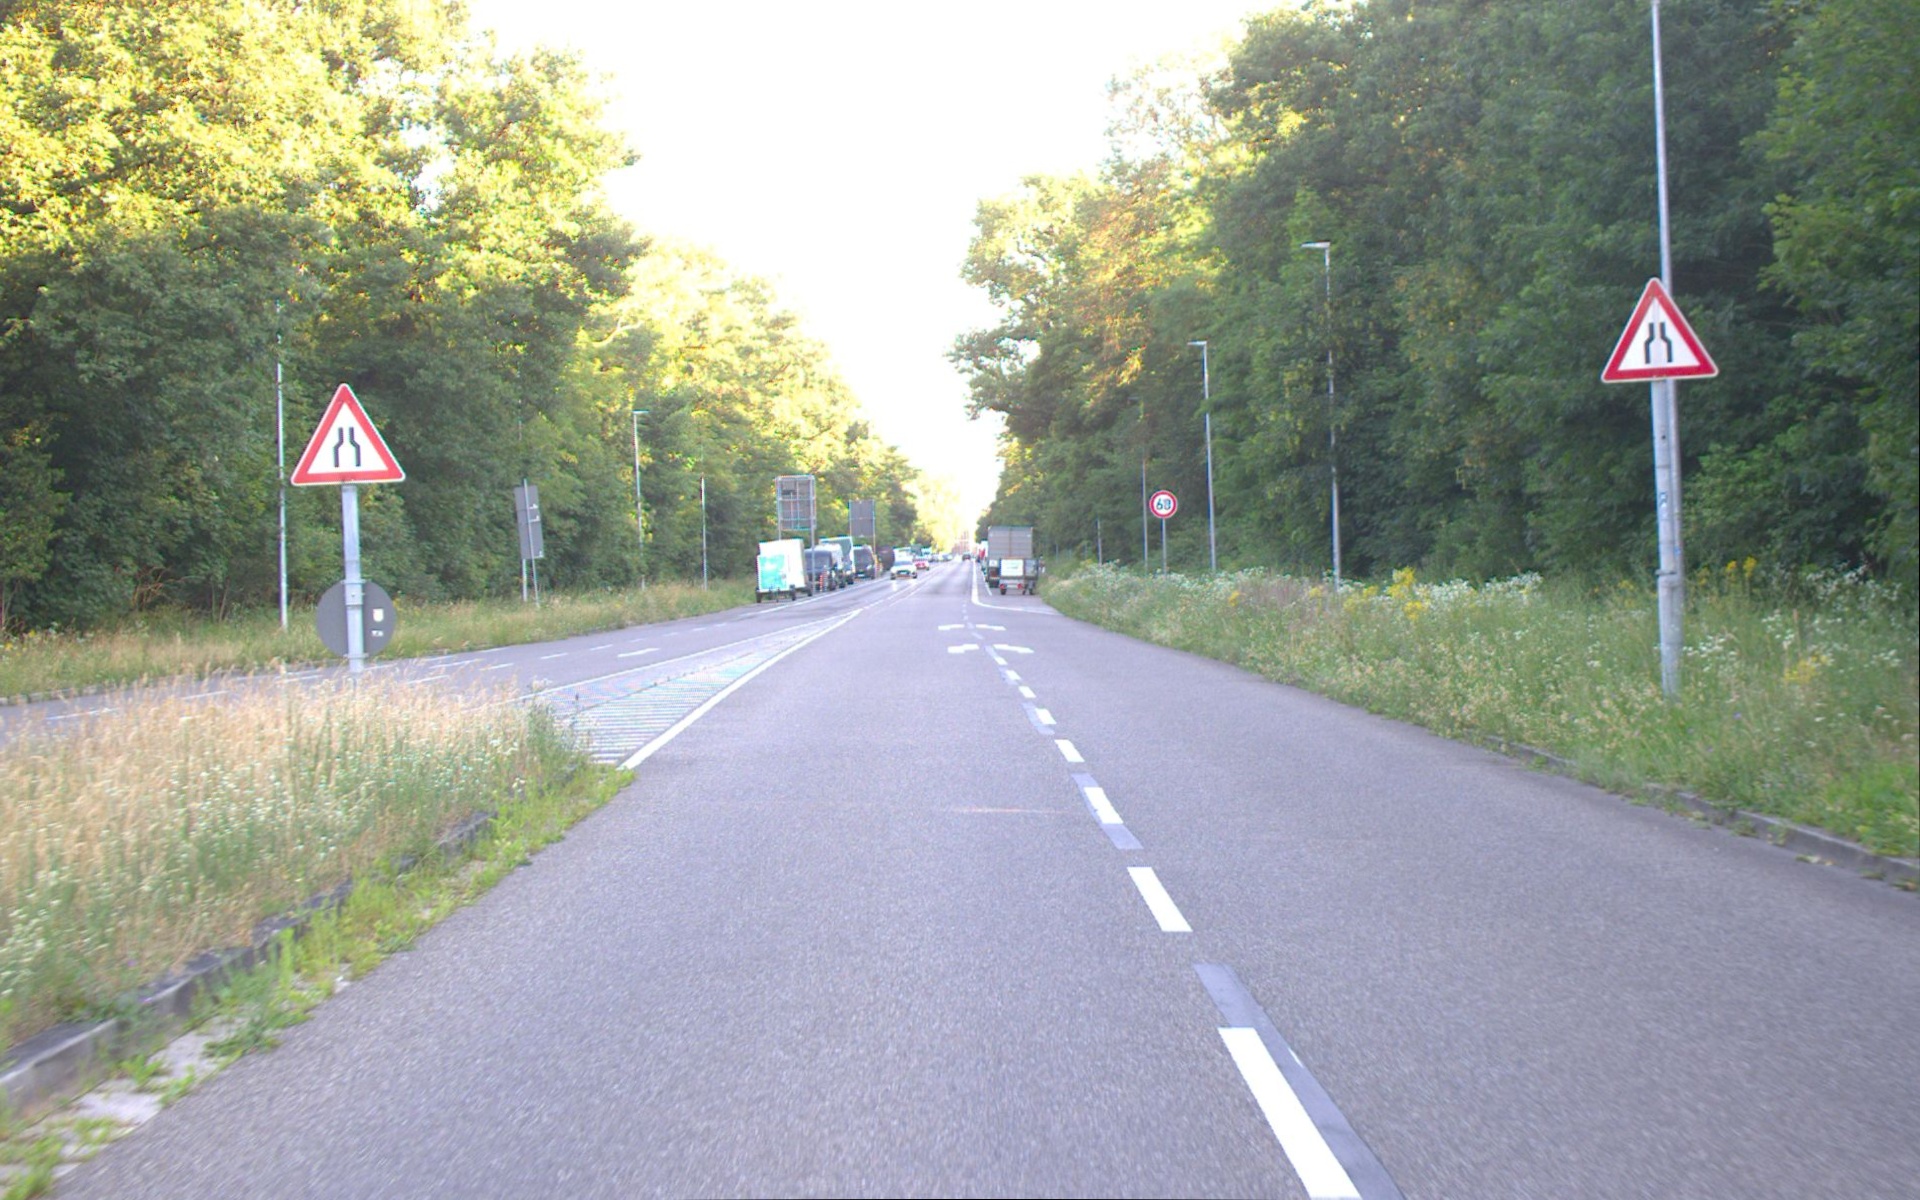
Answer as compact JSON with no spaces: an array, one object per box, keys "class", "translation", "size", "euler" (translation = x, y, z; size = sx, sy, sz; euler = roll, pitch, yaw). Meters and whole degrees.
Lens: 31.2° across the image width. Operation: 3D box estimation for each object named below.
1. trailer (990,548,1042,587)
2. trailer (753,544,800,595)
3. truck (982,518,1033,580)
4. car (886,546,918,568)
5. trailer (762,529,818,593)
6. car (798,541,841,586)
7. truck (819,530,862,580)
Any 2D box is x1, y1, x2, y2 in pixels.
[{"class":"trailer","translation":[2.478,-1.449,151.956],"size":[1.457,1.656,3.775],"euler":[-2,1,13]},{"class":"trailer","translation":[-8.120,-1.367,152.356],"size":[1.817,2.160,4.143],"euler":[-2,1,-1]},{"class":"truck","translation":[2.572,-2.711,184.418],"size":[2.589,3.244,7.220],"euler":[0,1,2]},{"class":"car","translation":[-4.364,-3.244,259.774],"size":[2.064,1.430,4.466],"euler":[-5,1,2]},{"class":"trailer","translation":[-8.297,-1.917,167.965],"size":[2.326,2.914,5.627],"euler":[-4,1,0]},{"class":"car","translation":[-7.889,-2.040,193.387],"size":[1.993,2.356,5.766],"euler":[-4,1,0]},{"class":"truck","translation":[-8.195,-3.101,236.397],"size":[2.504,3.317,6.842],"euler":[-3,1,0]}]
